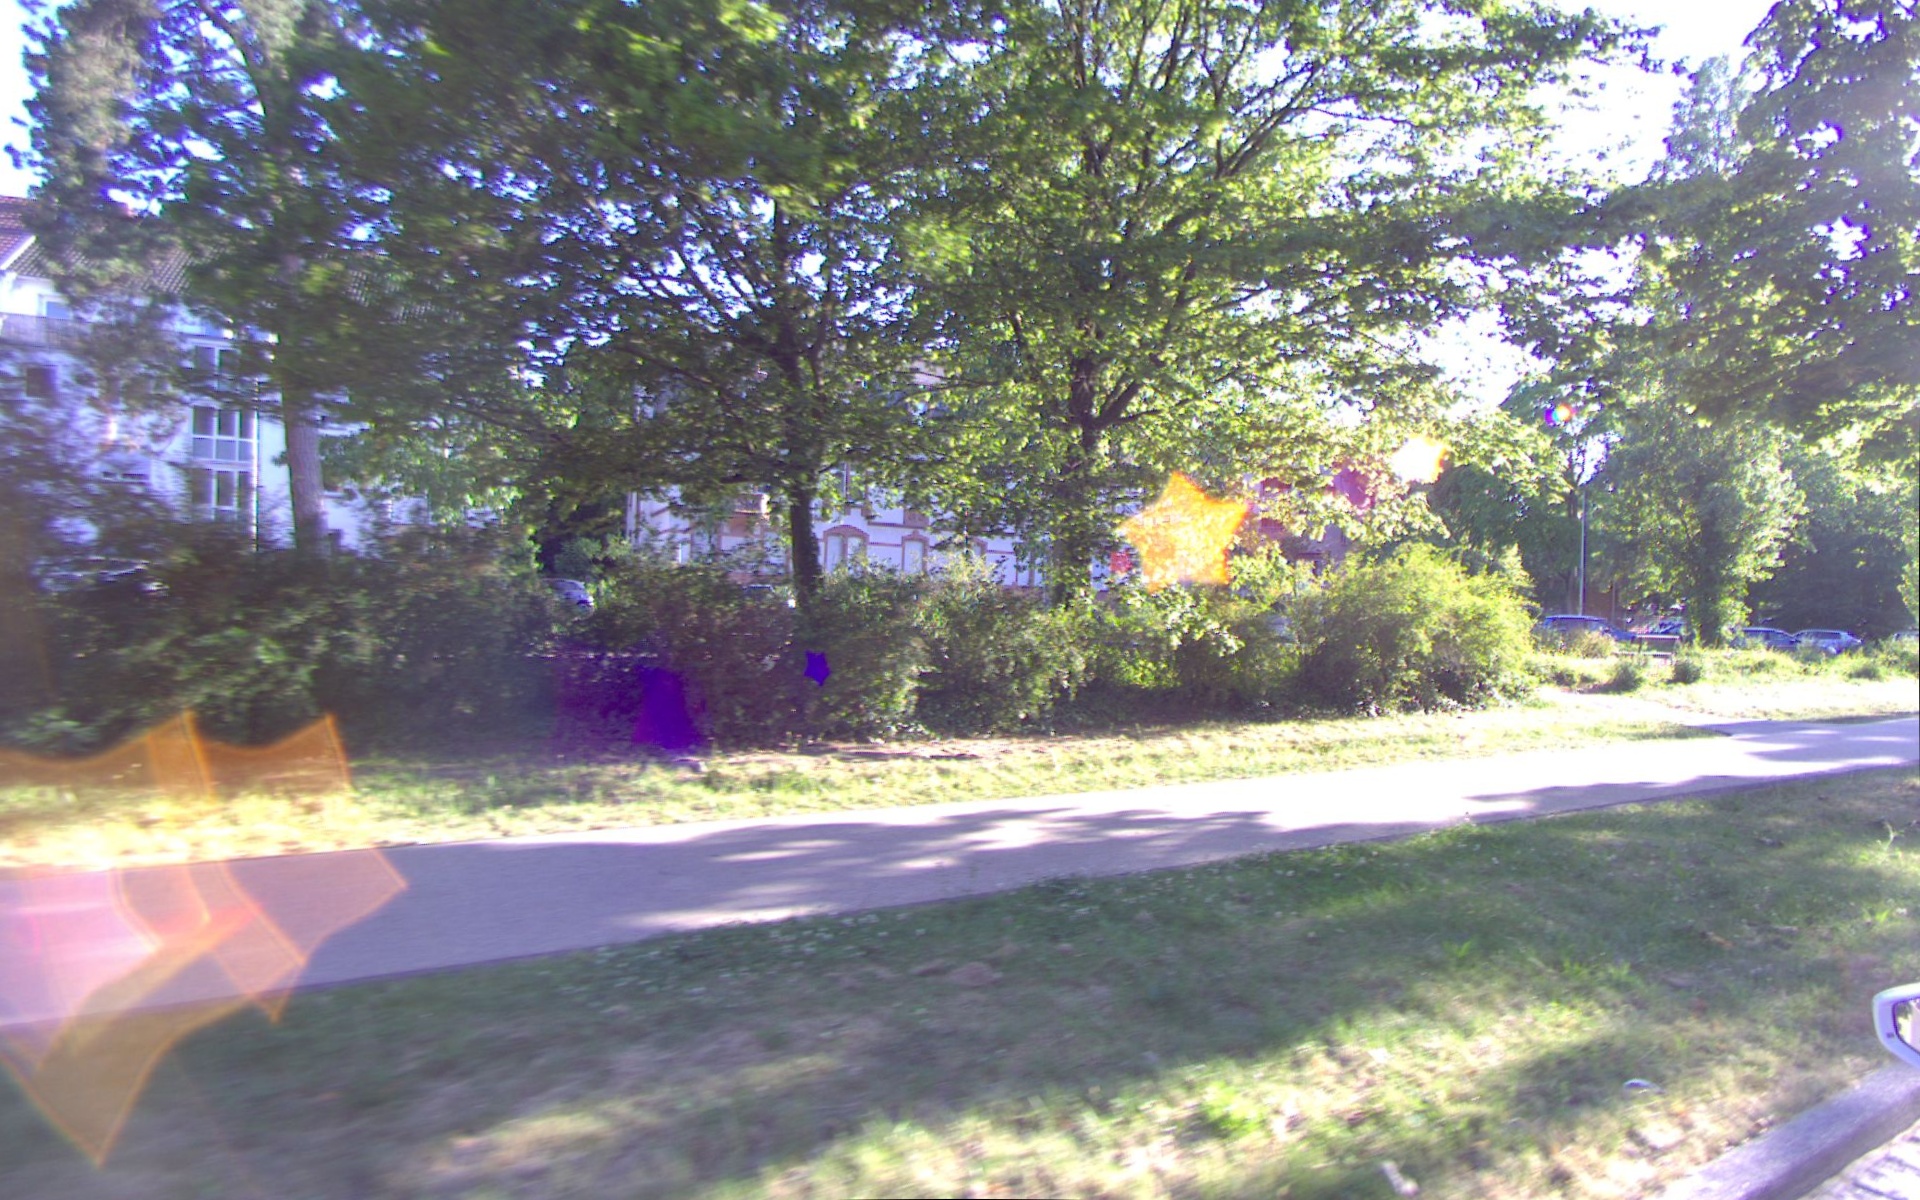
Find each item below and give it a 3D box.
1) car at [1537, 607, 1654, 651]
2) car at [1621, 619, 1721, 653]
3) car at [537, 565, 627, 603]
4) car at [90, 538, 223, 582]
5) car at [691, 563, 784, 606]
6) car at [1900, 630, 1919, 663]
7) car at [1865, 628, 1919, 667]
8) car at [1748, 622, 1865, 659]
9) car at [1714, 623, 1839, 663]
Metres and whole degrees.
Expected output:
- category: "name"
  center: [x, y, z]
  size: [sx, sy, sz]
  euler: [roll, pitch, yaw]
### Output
- category: "car"
  center: [29.828, 1.332, 47.179]
  size: [4.470, 1.708, 1.766]
  euler: [4, 1, 36]
- category: "car"
  center: [35.504, 1.793, 50.260]
  size: [3.931, 1.439, 1.767]
  euler: [3, 1, 32]
- category: "car"
  center: [-15.648, -0.676, 41.560]
  size: [3.330, 1.336, 1.629]
  euler: [3, 2, -25]
- category: "car"
  center: [-28.609, -1.419, 35.892]
  size: [3.328, 1.335, 1.630]
  euler: [3, 2, -23]
- category: "car"
  center: [-9.751, -0.680, 44.097]
  size: [3.721, 1.692, 1.315]
  euler: [3, 1, -29]
- category: "car"
  center: [44.657, 2.193, 44.620]
  size: [3.858, 1.439, 1.767]
  euler: [4, 1, 33]
- category: "car"
  center: [39.599, 2.020, 40.740]
  size: [3.929, 1.439, 1.768]
  euler: [4, 1, 30]
- category: "car"
  center: [40.039, 1.900, 47.614]
  size: [3.930, 1.439, 1.767]
  euler: [4, 1, 32]
- category: "car"
  center: [35.320, 1.820, 43.596]
  size: [3.930, 1.439, 1.767]
  euler: [3, 1, 32]
